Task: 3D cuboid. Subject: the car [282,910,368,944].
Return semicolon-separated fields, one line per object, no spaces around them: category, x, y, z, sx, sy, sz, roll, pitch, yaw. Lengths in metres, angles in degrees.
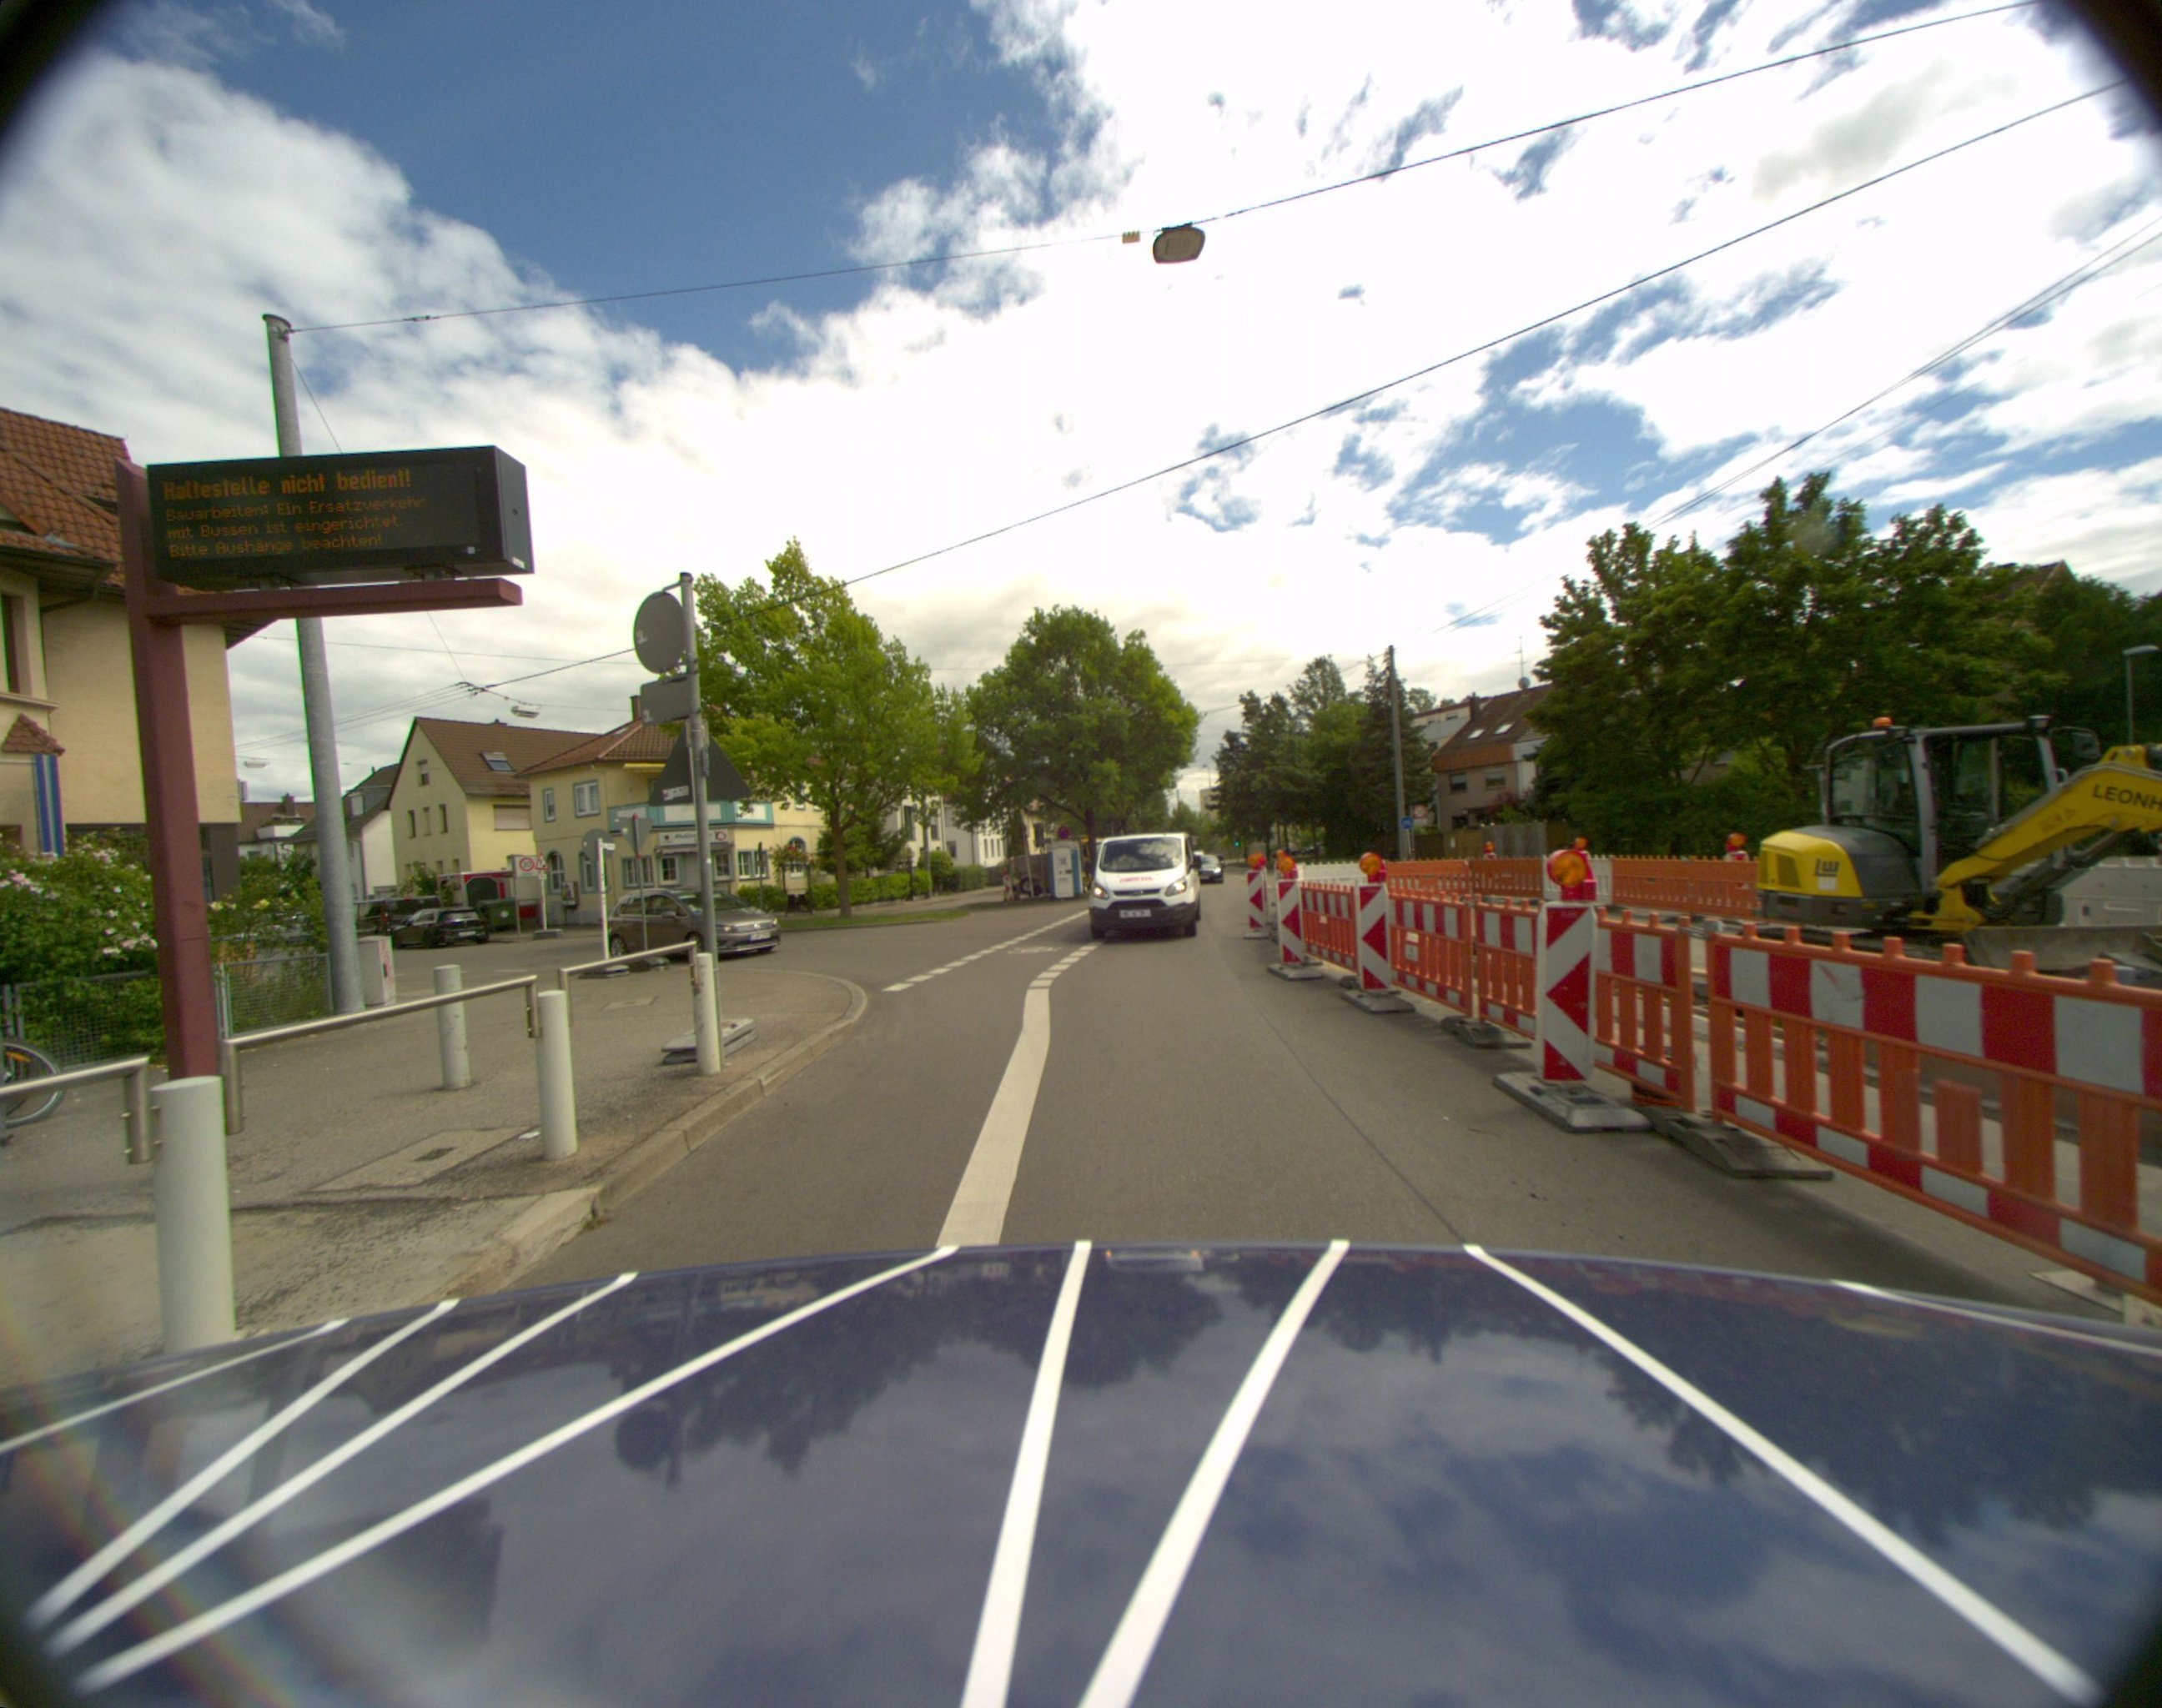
car;-35.732;3.432;35.902;3.868;1.353;2.004;-4;0;32

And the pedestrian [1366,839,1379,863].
pedestrian;18.164;-0.201;47.359;0.555;1.472;0.642;-4;1;7

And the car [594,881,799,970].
car;-8.304;1.546;16.384;3.991;1.615;1.873;-5;0;28

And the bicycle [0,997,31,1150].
bicycle;-7.468;1.497;4.667;0.216;1.008;1.170;-2;1;11

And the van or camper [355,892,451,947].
van or camper;-27.769;2.671;31.077;4.081;1.987;1.856;-4;0;34

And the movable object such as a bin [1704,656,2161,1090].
movable object such as a bin;7.690;0.070;5.511;1.997;2.610;6.527;-2;0;11

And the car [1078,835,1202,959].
car;1.409;0.685;15.831;1.997;2.002;5.515;-4;1;8

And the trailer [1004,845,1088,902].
trailer;-1.494;0.815;35.381;2.597;2.232;5.677;-6;0;9

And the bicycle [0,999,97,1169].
bicycle;-6.927;1.485;4.582;0.216;0.983;1.205;-2;1;11

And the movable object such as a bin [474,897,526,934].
movable object such as a bin;-25.625;2.696;33.544;1.303;1.482;1.416;-4;0;35

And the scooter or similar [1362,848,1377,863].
scooter or similar;18.265;0.092;48.162;0.637;0.859;1.031;-4;0;7

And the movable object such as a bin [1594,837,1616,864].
movable object such as a bin;19.369;-0.135;28.083;0.372;0.972;0.547;-3;1;-9

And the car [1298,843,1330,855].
car;33.715;-0.733;109.898;4.003;1.499;1.997;-4;0;-19

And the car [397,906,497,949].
car;-23.647;2.719;28.315;3.990;1.369;1.717;-4;0;33

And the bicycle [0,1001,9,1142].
bicycle;-7.726;1.506;4.735;0.216;1.003;1.190;-2;1;11

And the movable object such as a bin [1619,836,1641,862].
movable object such as a bin;20.527;-0.188;28.400;0.378;0.972;0.525;-3;1;-9

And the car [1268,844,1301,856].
car;28.951;-0.542;108.008;4.003;1.499;1.997;-4;0;-21

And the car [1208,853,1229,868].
car;14.798;0.655;81.719;1.697;1.504;4.000;-3;0;3

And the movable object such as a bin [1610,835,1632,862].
movable object such as a bin;20.109;-0.217;28.285;0.378;0.972;0.525;-3;1;-9

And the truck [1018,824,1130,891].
truck;-0.533;0.257;43.239;2.347;3.178;6.618;-3;-3;-42

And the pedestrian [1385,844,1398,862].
pedestrian;19.375;-0.090;47.478;0.555;1.080;0.642;-4;1;7

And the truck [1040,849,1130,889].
truck;0.157;0.964;46.708;2.003;2.001;5.944;-4;-1;-40

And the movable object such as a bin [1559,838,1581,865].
movable object such as a bin;18.575;-0.088;28.856;0.476;1.005;0.495;-2;1;4

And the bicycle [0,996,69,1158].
bicycle;-7.203;1.483;4.641;0.216;0.995;1.208;-2;1;11
